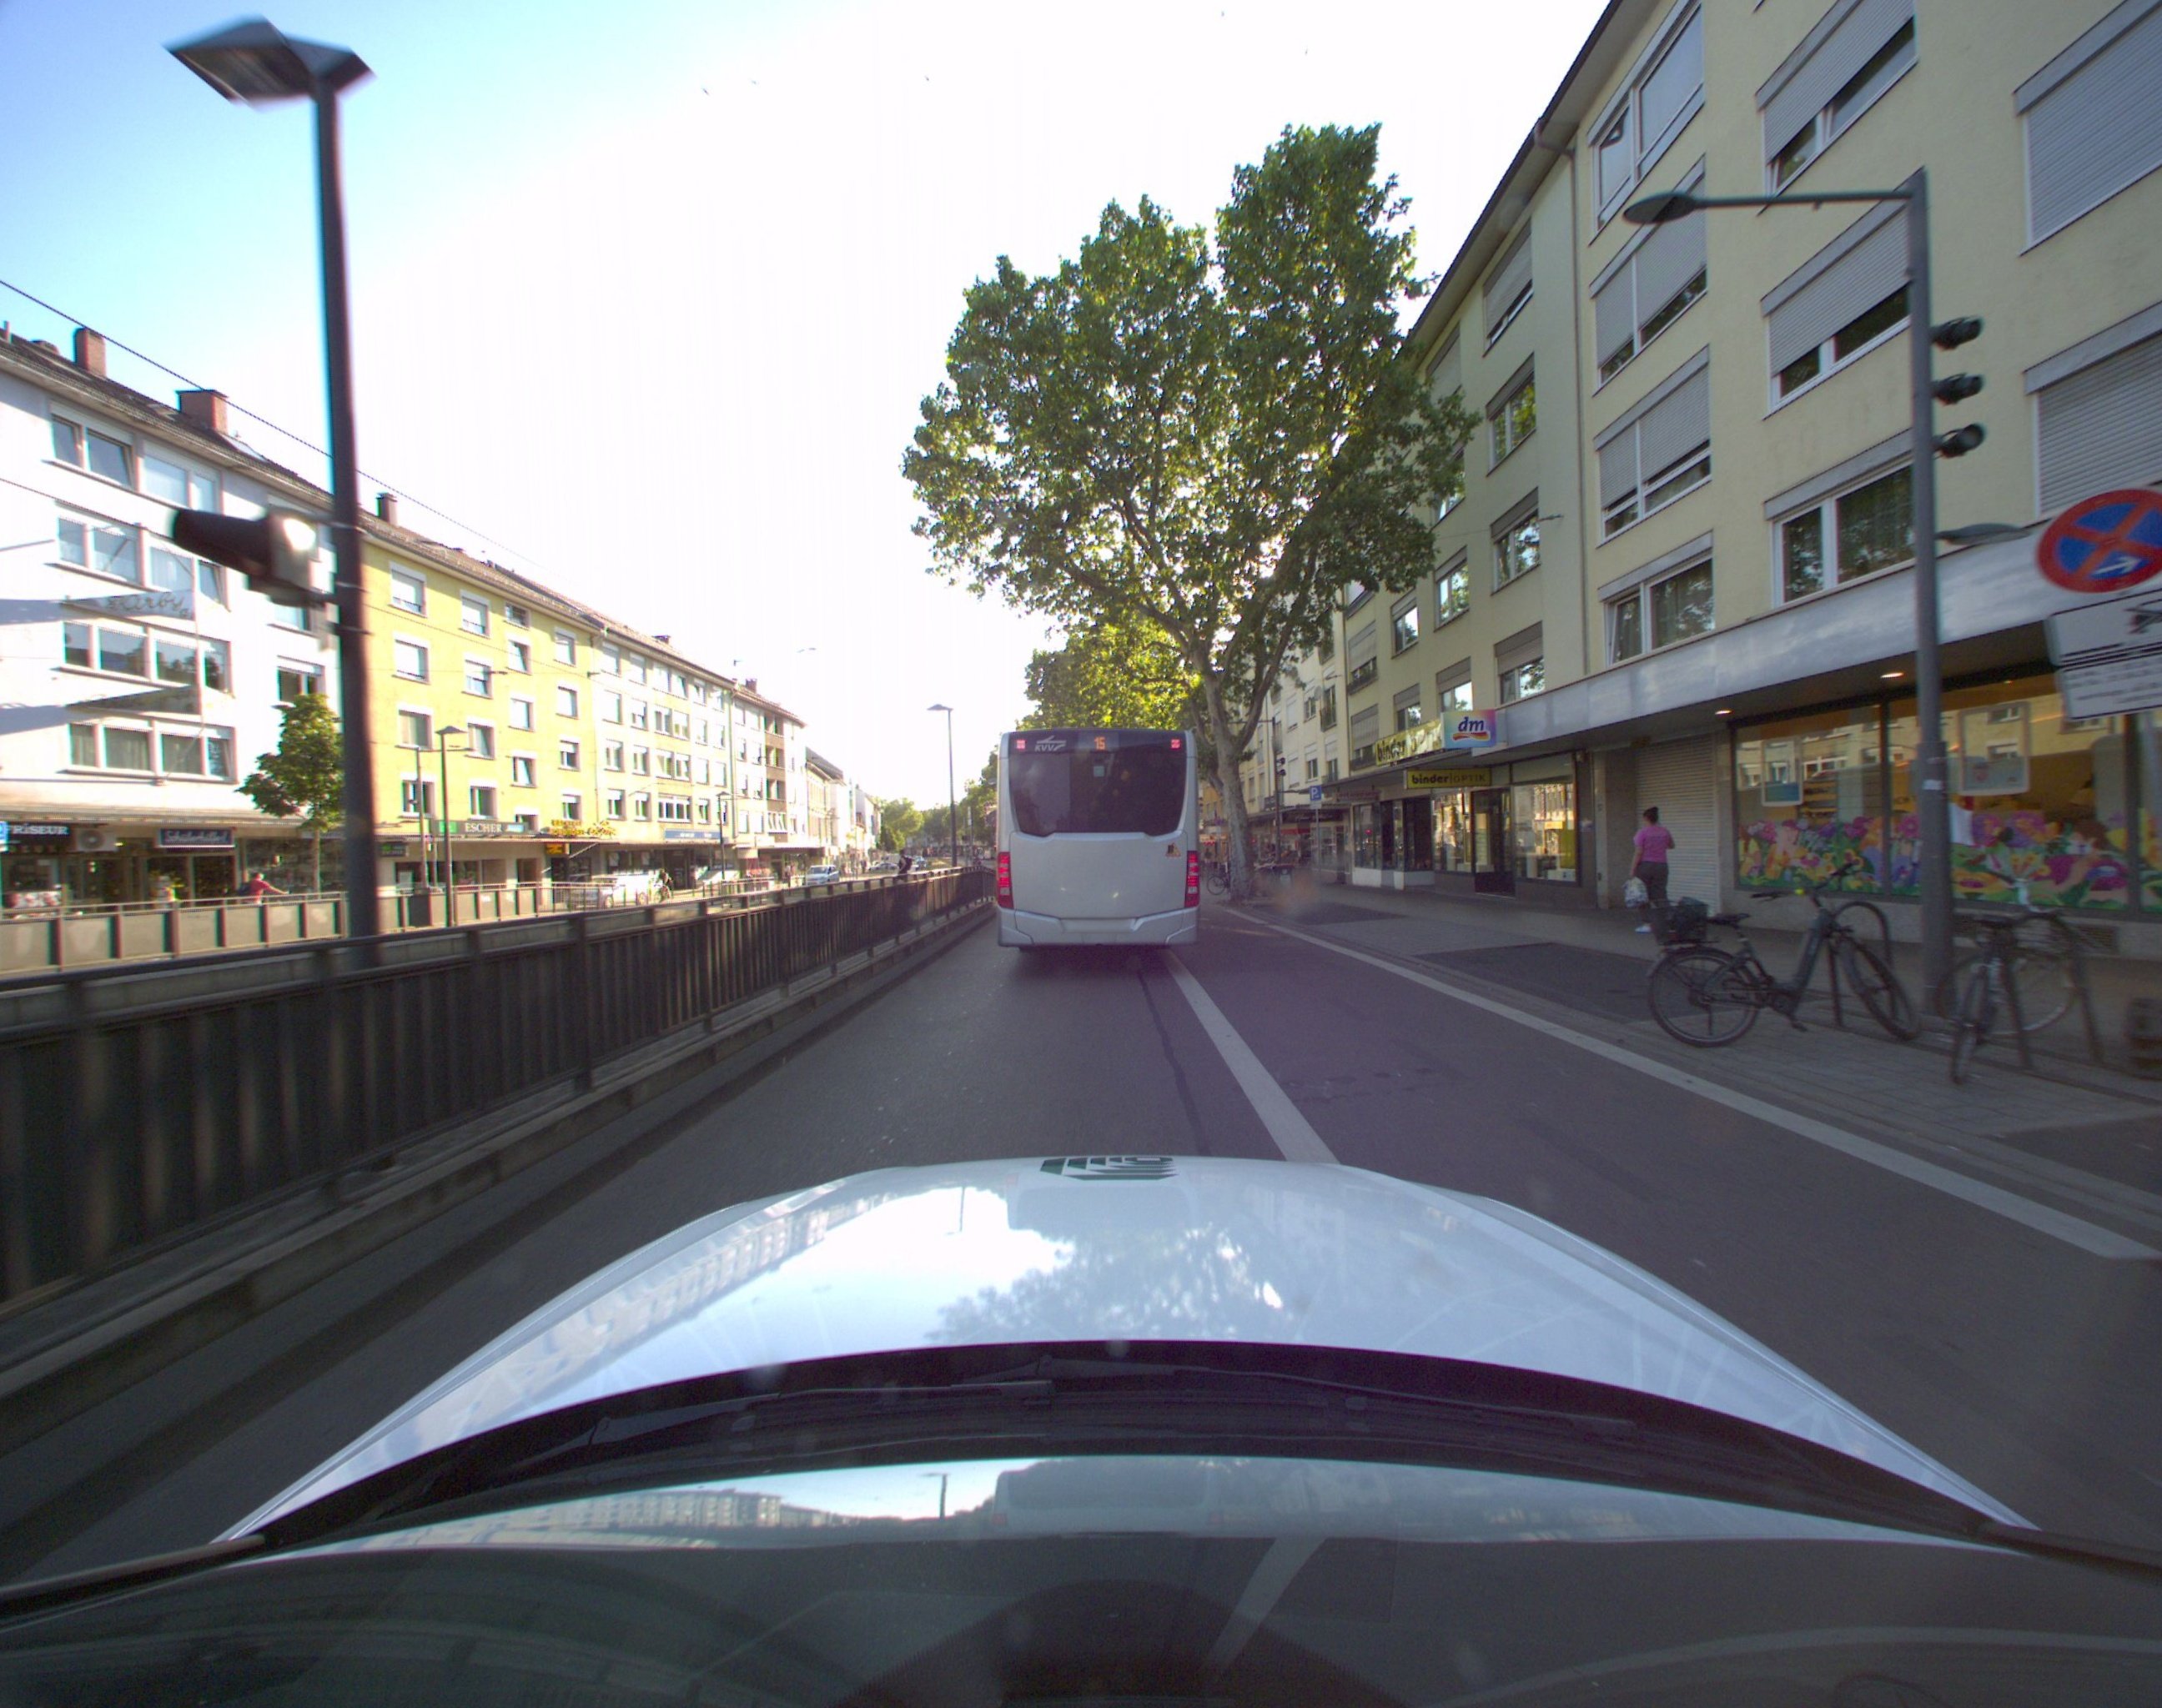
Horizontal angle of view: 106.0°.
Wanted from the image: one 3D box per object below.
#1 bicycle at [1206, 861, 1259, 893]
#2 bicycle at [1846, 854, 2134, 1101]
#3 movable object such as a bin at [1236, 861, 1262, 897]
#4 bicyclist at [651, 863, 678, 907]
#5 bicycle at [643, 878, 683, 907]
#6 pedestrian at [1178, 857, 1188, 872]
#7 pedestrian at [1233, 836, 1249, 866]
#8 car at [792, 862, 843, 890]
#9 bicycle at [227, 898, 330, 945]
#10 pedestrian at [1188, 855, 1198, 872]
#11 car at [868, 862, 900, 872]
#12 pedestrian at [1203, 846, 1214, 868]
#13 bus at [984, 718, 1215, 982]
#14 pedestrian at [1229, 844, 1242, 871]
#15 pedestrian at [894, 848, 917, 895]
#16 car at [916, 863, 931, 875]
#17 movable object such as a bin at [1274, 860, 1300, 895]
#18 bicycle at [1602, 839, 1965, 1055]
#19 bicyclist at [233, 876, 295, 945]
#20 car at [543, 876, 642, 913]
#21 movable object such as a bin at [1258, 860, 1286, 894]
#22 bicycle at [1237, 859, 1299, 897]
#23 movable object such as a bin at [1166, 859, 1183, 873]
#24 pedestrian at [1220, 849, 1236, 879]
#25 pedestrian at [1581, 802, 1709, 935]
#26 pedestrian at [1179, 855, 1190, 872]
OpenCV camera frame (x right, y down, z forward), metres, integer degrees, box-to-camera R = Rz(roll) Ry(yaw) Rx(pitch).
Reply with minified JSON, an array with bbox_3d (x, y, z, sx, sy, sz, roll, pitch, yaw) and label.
[{"bbox_3d":[5.809,0.877,31.266,1.897,1.105,0.519,-4,0,7],"label":"bicycle"},{"bbox_3d":[5.613,0.671,5.011,1.797,1.124,0.658,-7,0,-27],"label":"bicycle"},{"bbox_3d":[5.530,0.821,26.837,0.718,1.102,0.645,-6,-1,7],"label":"movable object such as a bin"},{"bbox_3d":[-20.030,1.474,39.187,0.761,2.013,0.911,-2,0,0],"label":"bicyclist"},{"bbox_3d":[-20.019,1.843,39.052,0.715,1.230,2.278,-3,0,0],"label":"bicycle"},{"bbox_3d":[7.577,0.806,60.488,0.582,1.115,0.749,0,-1,-6],"label":"pedestrian"},{"bbox_3d":[8.693,-0.148,44.313,0.620,1.586,0.626,-4,0,-1],"label":"pedestrian"},{"bbox_3d":[-18.051,1.452,56.008,1.987,1.717,4.434,-2,0,-1],"label":"car"},{"bbox_3d":[-23.689,1.967,24.100,0.702,1.159,2.203,2,1,7],"label":"bicycle"},{"bbox_3d":[8.241,0.677,59.824,0.582,1.275,0.757,0,-1,-6],"label":"pedestrian"},{"bbox_3d":[-31.219,2.132,129.316,4.577,1.412,1.976,-2,0,-43],"label":"car"},{"bbox_3d":[10.668,0.223,68.112,0.704,1.791,0.787,-5,0,-1],"label":"pedestrian"},{"bbox_3d":[0.171,-0.061,13.295,2.670,3.083,7.110,-2,0,-1],"label":"bus"},{"bbox_3d":[10.581,0.243,55.696,0.629,1.804,0.630,-2,-1,29],"label":"pedestrian"},{"bbox_3d":[-7.086,0.702,32.920,0.740,1.849,0.589,-2,0,-5],"label":"pedestrian"},{"bbox_3d":[-23.868,2.267,123.569,1.720,1.509,3.469,-4,0,-5],"label":"car"},{"bbox_3d":[6.751,0.763,26.703,0.716,1.072,0.647,-4,-1,19],"label":"movable object such as a bin"},{"bbox_3d":[5.010,0.660,5.944,1.775,1.311,0.696,-7,0,12],"label":"bicycle"},{"bbox_3d":[-23.735,1.615,23.685,0.689,1.886,1.060,2,2,7],"label":"bicyclist"},{"bbox_3d":[-22.294,1.821,37.378,1.988,1.478,4.407,0,0,-2],"label":"car"},{"bbox_3d":[6.360,0.766,27.150,0.720,1.072,0.643,-4,-1,-2],"label":"movable object such as a bin"},{"bbox_3d":[5.755,0.742,25.068,1.711,1.118,0.745,-1,-4,1],"label":"bicycle"},{"bbox_3d":[7.050,0.925,61.339,0.932,1.023,0.832,0,-1,-30],"label":"movable object such as a bin"},{"bbox_3d":[7.980,0.536,44.236,0.633,1.586,0.626,-4,0,-1],"label":"pedestrian"},{"bbox_3d":[8.038,0.203,11.680,0.964,1.763,1.134,-3,-1,1],"label":"pedestrian"},{"bbox_3d":[7.405,0.680,58.107,0.605,1.225,0.743,-2,0,-6],"label":"pedestrian"}]
